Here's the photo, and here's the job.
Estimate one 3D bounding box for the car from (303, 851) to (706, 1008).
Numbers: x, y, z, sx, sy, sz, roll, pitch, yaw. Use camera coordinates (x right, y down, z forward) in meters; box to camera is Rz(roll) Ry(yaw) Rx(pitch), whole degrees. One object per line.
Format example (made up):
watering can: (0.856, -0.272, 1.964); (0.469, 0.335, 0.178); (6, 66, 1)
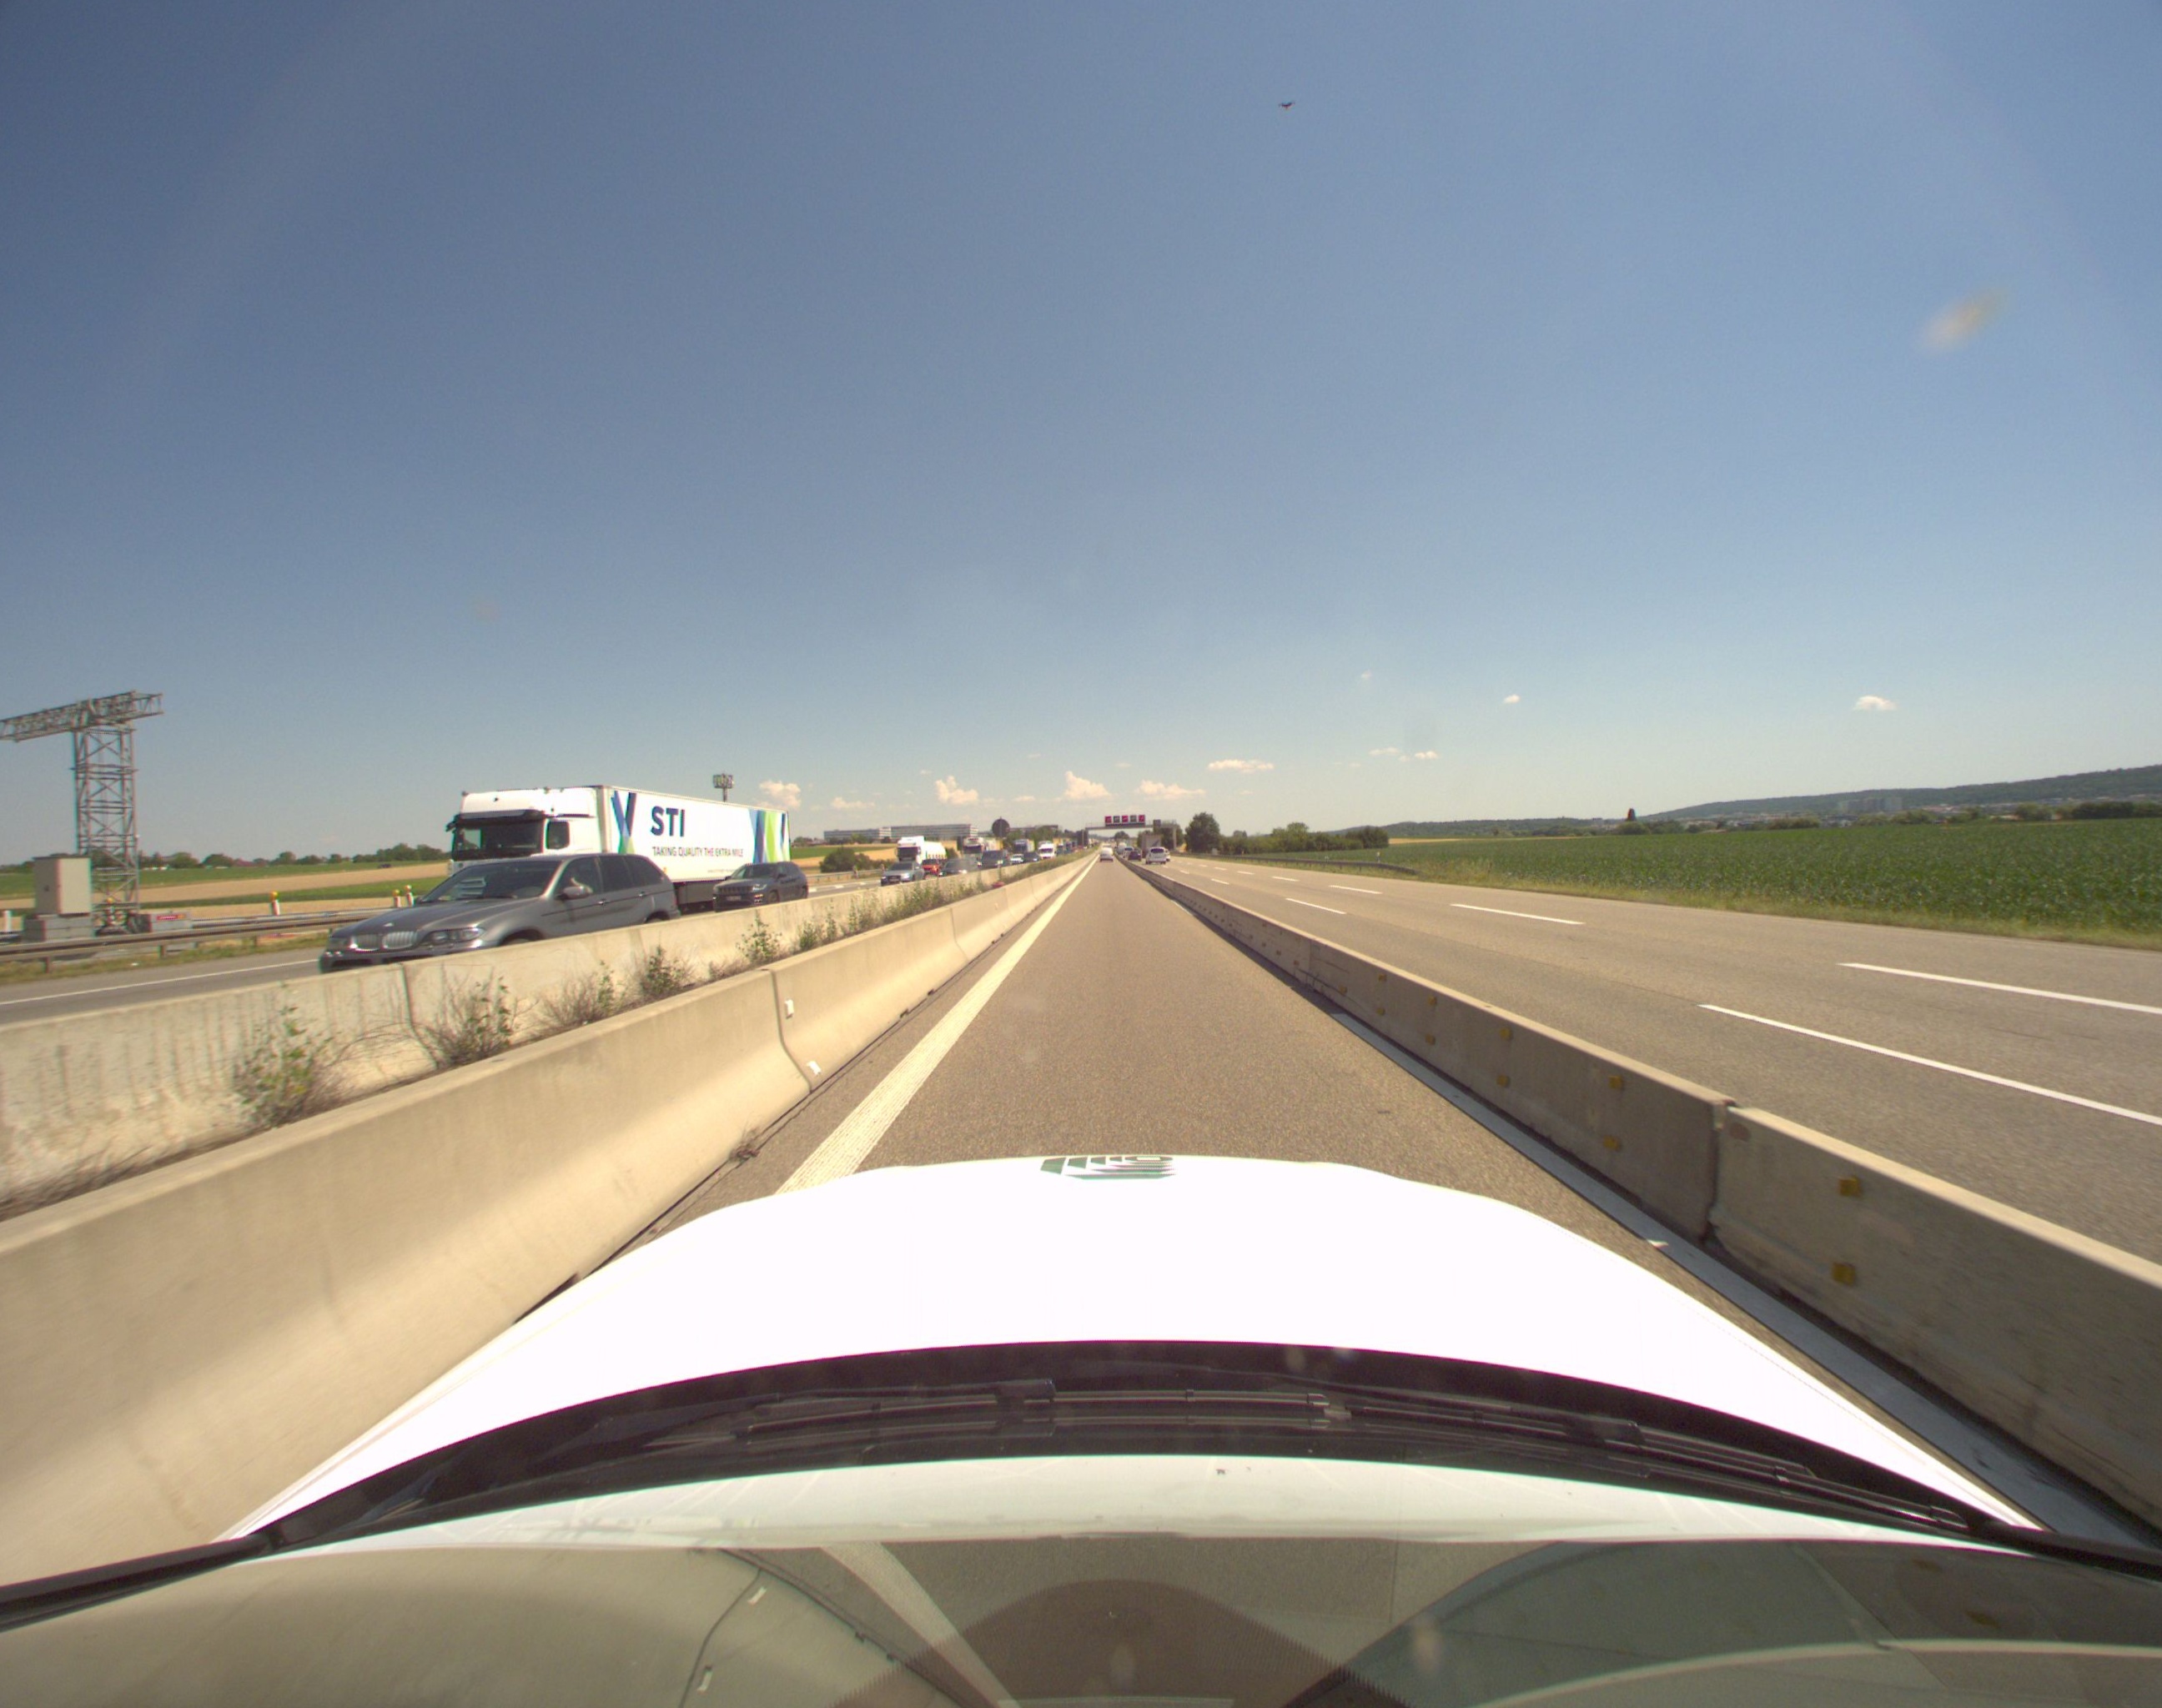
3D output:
car: (-7.168, 0.796, 10.966); (1.883, 1.617, 4.822); (-1, 0, 1)

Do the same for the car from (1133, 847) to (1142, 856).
car: (13.558, -0.666, 195.678); (1.986, 2.014, 4.001); (-1, 0, 1)

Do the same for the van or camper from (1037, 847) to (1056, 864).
van or camper: (-4.617, 0.114, 110.316); (2.028, 2.221, 7.210); (0, 0, 1)

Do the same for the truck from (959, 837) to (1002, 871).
truck: (-11.965, -0.017, 98.293); (2.784, 3.609, 13.295); (-4, 0, 2)

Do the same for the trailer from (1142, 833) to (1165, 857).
trailer: (12.467, -1.428, 140.989); (3.265, 3.967, 9.115); (-1, 0, 2)

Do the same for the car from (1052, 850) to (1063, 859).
car: (-4.223, 0.091, 146.253); (1.592, 1.469, 4.534); (-2, 0, 1)

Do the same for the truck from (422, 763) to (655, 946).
truck: (-14.727, 0.019, 22.624); (2.860, 4.375, 4.904); (-3, 0, 1)

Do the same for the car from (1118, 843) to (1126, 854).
car: (9.443, -1.247, 187.932); (1.767, 2.392, 4.001); (-1, 0, 1)

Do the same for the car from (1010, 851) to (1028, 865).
car: (-8.136, 0.455, 107.334); (1.880, 1.709, 5.522); (-3, 0, 0)

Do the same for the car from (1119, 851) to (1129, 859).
car: (7.668, 0.240, 146.120); (1.767, 1.447, 4.001); (-1, 0, 1)

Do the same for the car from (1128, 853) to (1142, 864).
car: (7.387, 0.575, 111.578); (1.767, 1.447, 4.001); (-1, 0, 1)

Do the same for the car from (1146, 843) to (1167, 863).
car: (8.307, -0.089, 89.606); (1.986, 2.120, 4.001); (-1, 0, 1)

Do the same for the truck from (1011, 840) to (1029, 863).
truck: (-11.285, -0.528, 151.612); (2.800, 4.128, 4.843); (-2, 0, 1)

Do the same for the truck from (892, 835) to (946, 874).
truck: (-17.531, 0.054, 89.280); (2.889, 3.776, 13.290); (-4, 0, 1)

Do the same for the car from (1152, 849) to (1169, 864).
car: (10.496, 0.340, 107.438); (1.986, 1.794, 4.001); (-1, 0, 1)

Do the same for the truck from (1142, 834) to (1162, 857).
truck: (12.577, -1.405, 145.087); (3.259, 3.967, 4.914); (-1, 0, 1)

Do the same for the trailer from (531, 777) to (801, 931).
trailer: (-14.475, -0.004, 30.487); (2.882, 4.375, 12.998); (-3, 0, 2)

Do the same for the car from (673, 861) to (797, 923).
car: (-10.410, 1.075, 24.936); (1.649, 1.651, 4.667); (-1, 0, 2)

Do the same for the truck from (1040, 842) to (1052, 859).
truck: (-8.930, -0.944, 206.931); (2.402, 4.086, 4.662); (-2, 0, 2)

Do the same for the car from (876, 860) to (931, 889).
car: (-10.052, 1.144, 46.489); (1.840, 1.482, 4.924); (-1, 0, 2)

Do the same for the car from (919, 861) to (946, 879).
car: (-12.963, 1.362, 71.386); (1.557, 1.516, 3.938); (0, -1, 2)

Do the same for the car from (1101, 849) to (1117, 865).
car: (3.652, 0.412, 107.678); (1.986, 2.014, 4.001); (-1, 0, 1)

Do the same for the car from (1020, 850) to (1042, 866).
car: (-5.059, 0.415, 83.519); (1.775, 1.589, 4.543); (-1, 0, 2)

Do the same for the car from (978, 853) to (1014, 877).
car: (-5.987, 0.764, 57.859); (1.836, 1.569, 5.347); (-1, 0, 2)

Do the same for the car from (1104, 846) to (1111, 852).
car: (7.969, -1.606, 248.112); (1.986, 1.835, 4.001); (-1, 0, 2)

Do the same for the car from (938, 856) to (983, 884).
car: (-6.436, 0.810, 43.878); (1.649, 1.351, 4.268); (-1, 0, 2)
